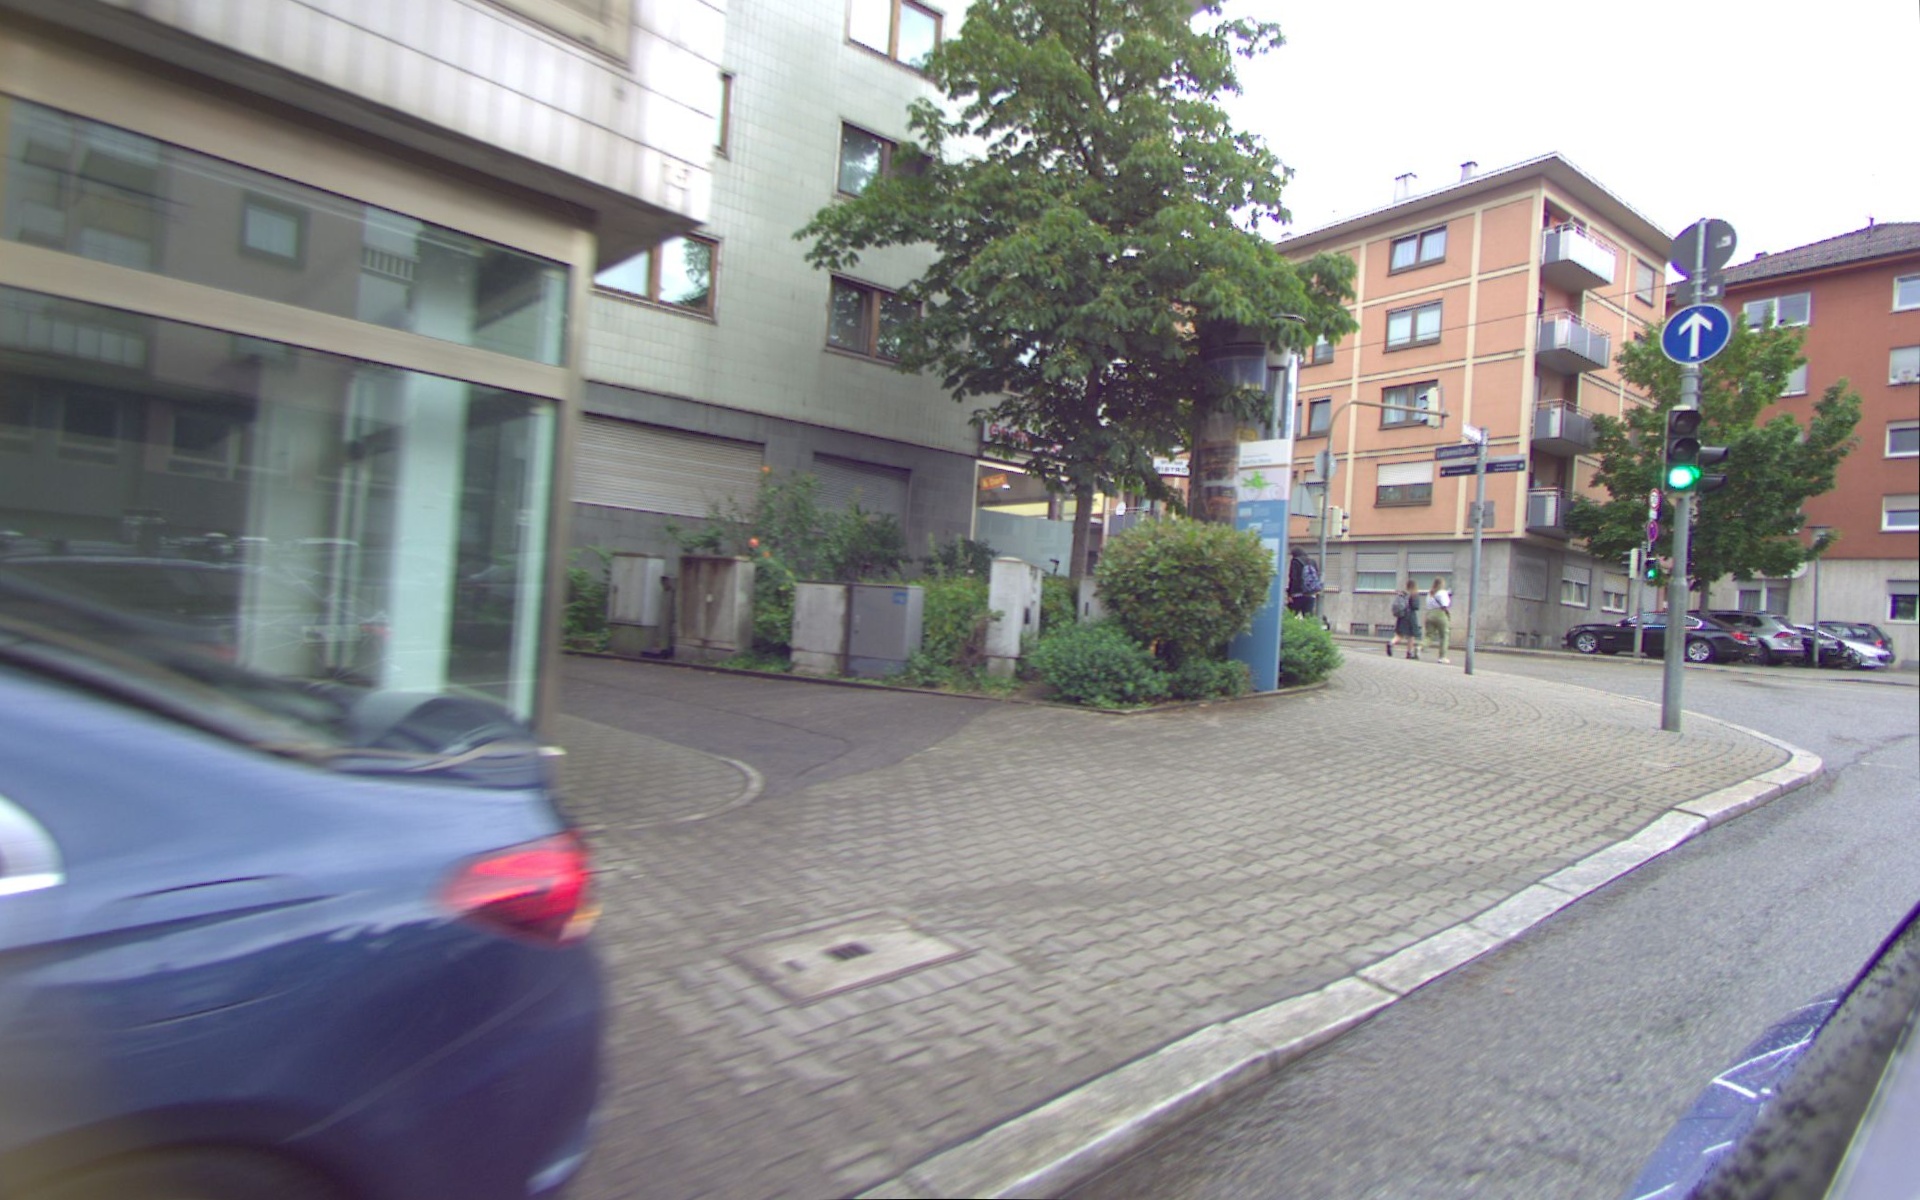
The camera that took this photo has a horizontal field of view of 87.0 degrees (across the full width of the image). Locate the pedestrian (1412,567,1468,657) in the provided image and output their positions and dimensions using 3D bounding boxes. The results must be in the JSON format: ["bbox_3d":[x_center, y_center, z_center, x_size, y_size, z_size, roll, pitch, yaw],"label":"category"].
[{"bbox_3d":[9.393,0.236,19.814,0.749,1.667,0.705,6,0,18],"label":"pedestrian"}]

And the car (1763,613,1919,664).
[{"bbox_3d":[33.116,1.427,38.156,1.958,1.728,4.006,5,-3,-24],"label":"car"}]

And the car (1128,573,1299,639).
[{"bbox_3d":[6.374,0.111,25.836,1.814,1.532,4.000,2,0,-35],"label":"car"}]

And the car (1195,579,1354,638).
[{"bbox_3d":[8.807,0.209,28.623,1.814,1.508,4.000,2,0,-35],"label":"car"}]

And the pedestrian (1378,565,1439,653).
[{"bbox_3d":[9.074,0.174,20.482,0.745,1.667,0.710,6,0,-37],"label":"pedestrian"}]

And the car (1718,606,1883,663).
[{"bbox_3d":[29.074,1.161,35.162,1.762,1.719,4.008,5,-1,-20],"label":"car"}]

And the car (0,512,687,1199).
[{"bbox_3d":[-2.654,0.564,0.941,4.306,1.408,1.766,-1,4,-44],"label":"car"}]

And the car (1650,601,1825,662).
[{"bbox_3d":[24.554,0.970,32.083,1.955,1.681,3.999,3,-1,-36],"label":"car"}]

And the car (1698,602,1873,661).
[{"bbox_3d":[27.090,0.998,33.371,1.951,1.741,4.007,2,0,-24],"label":"car"}]

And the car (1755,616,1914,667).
[{"bbox_3d":[31.090,1.450,36.119,1.639,1.602,4.007,4,-3,-18],"label":"car"}]

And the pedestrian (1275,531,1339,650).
[{"bbox_3d":[5.696,-0.163,16.662,0.743,1.840,0.914,4,1,12],"label":"pedestrian"}]

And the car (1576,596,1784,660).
[{"bbox_3d":[21.828,0.815,30.905,1.814,1.574,4.799,3,1,-34],"label":"car"}]
